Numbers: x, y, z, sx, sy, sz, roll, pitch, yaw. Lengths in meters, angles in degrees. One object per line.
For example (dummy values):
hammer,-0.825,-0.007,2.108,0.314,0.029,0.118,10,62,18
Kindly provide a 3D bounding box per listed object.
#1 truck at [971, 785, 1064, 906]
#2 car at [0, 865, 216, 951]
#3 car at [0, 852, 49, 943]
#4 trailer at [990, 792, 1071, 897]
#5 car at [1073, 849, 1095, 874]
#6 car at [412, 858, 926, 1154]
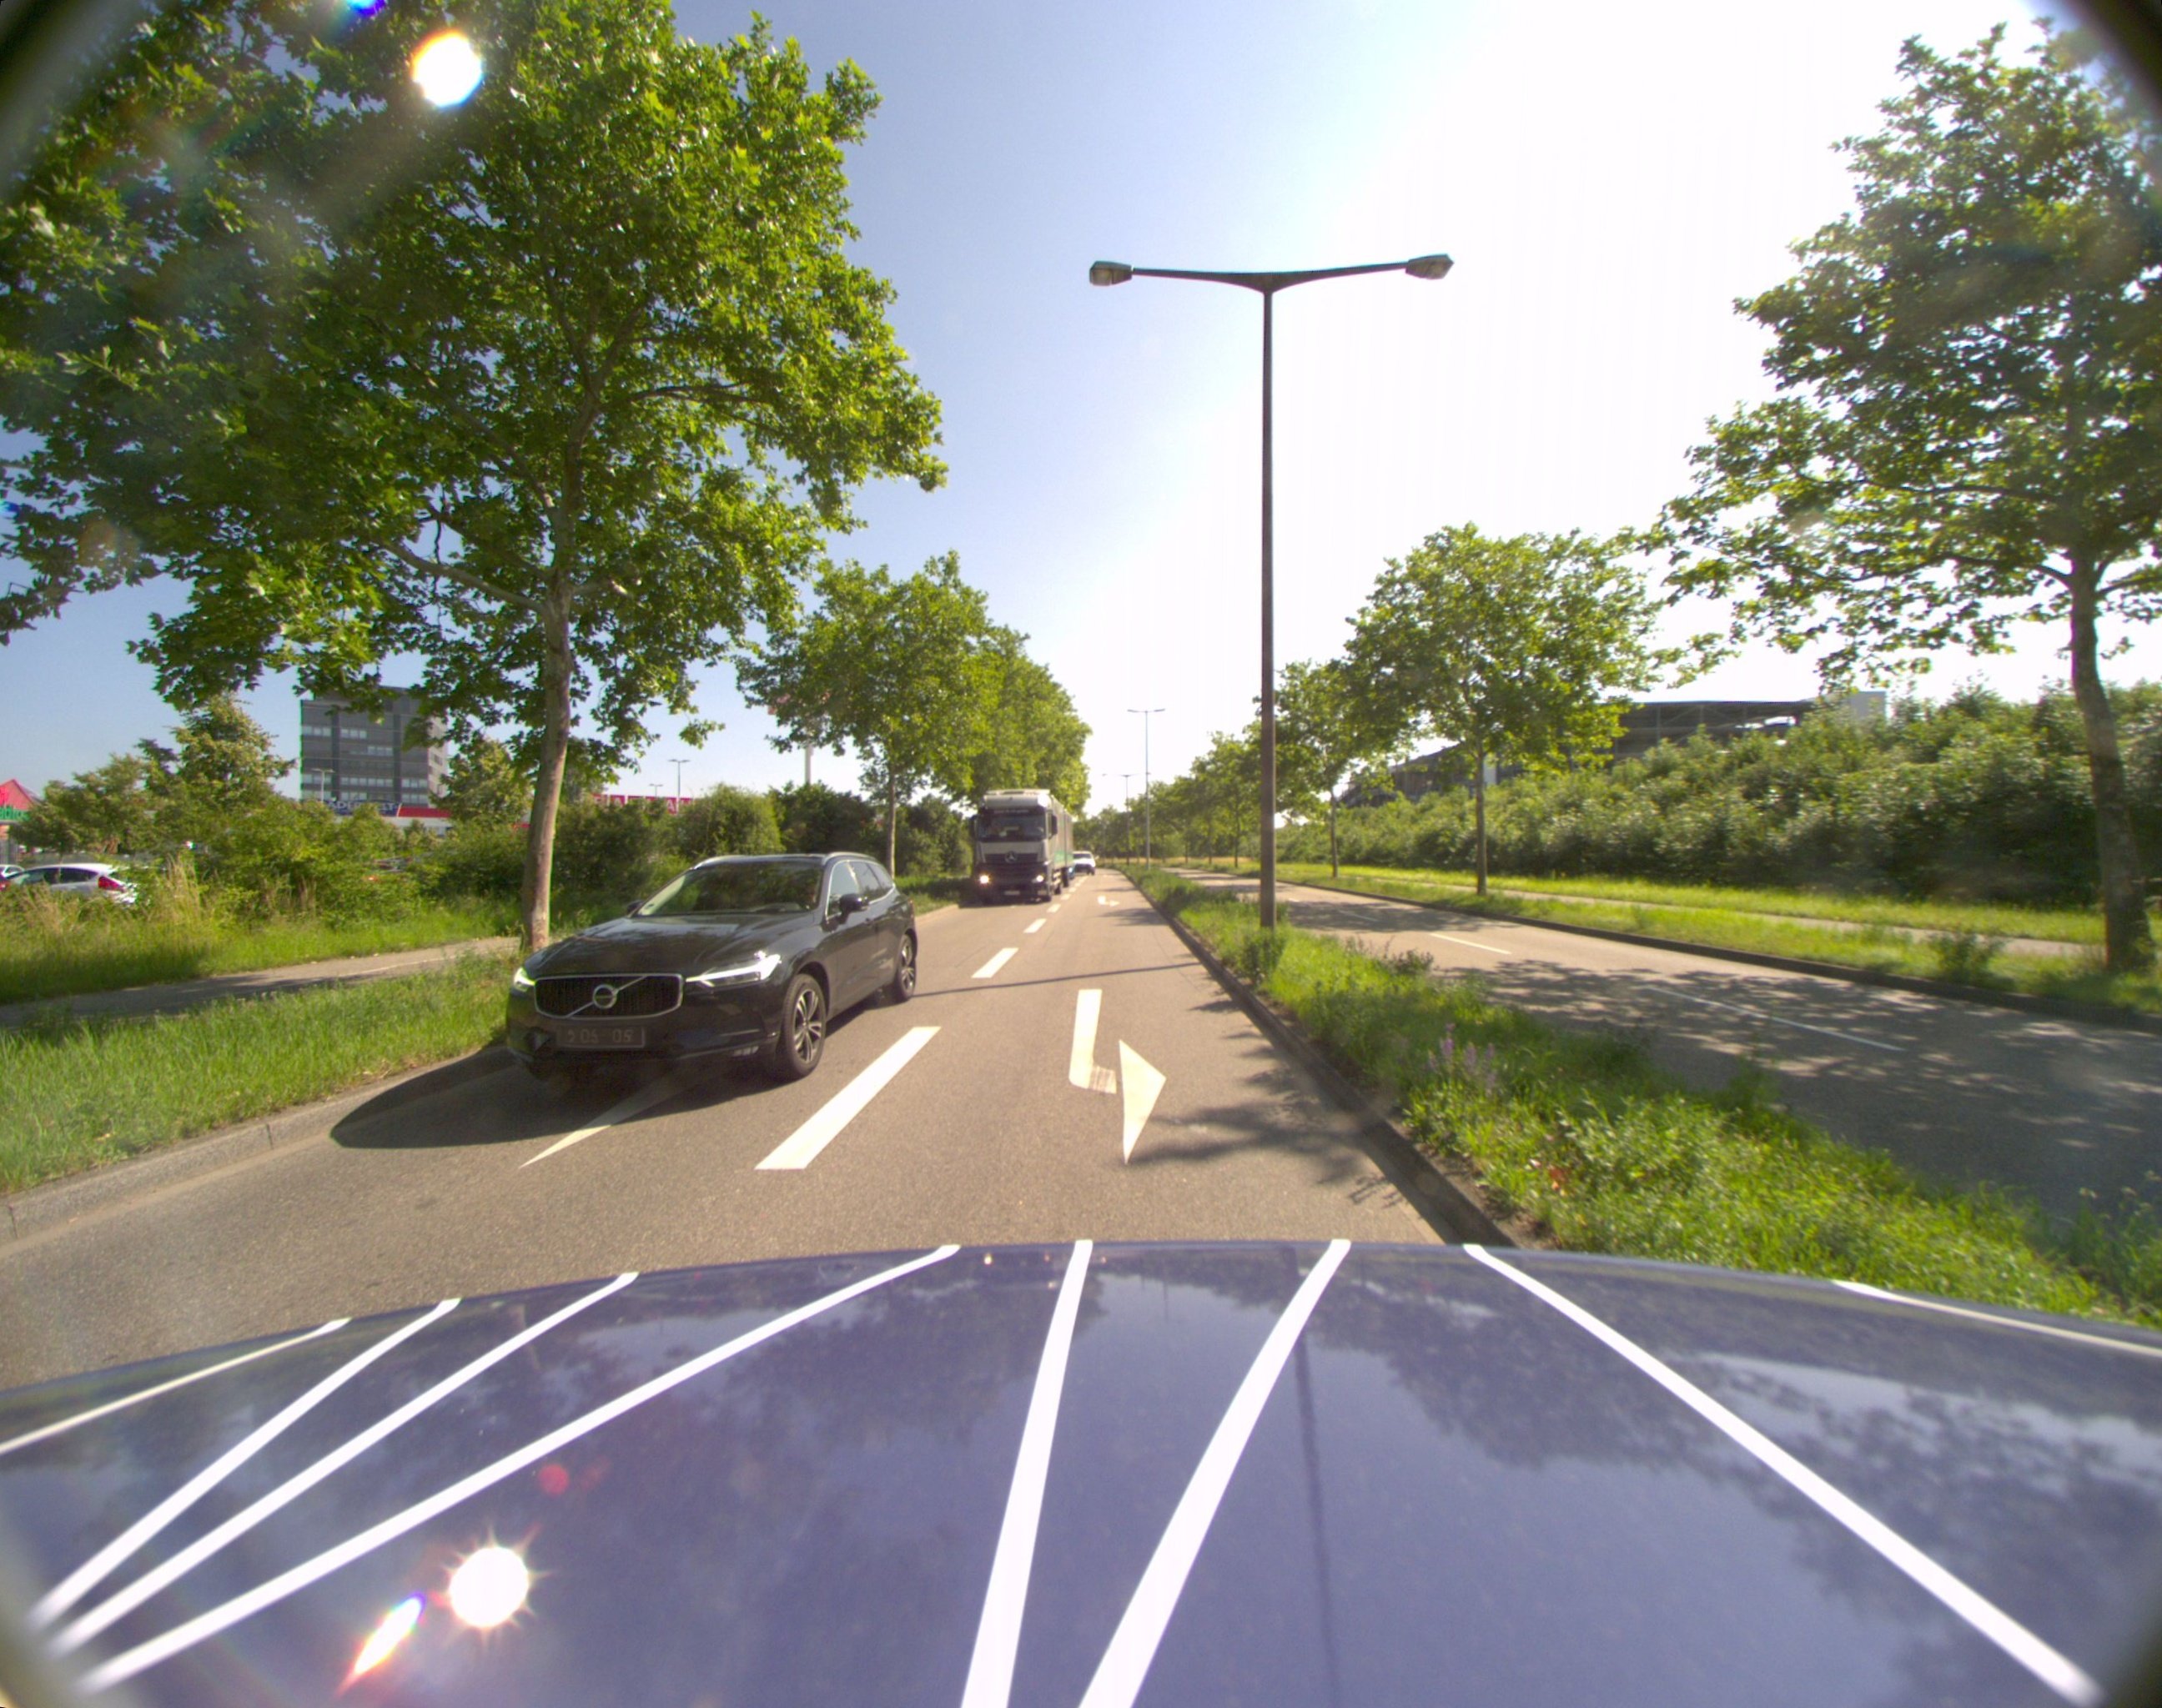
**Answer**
truck,-2.149,-0.307,27.752,2.741,3.872,5.851,-1,1,1
car,-21.854,1.140,16.660,3.558,1.686,1.718,-1,1,-4
car,-21.872,0.850,13.818,3.558,1.686,1.718,-1,1,-4
trailer,-2.035,-0.413,35.178,2.805,4.023,10.796,-1,1,1
car,0.281,0.581,61.639,1.691,1.893,4.000,-1,1,1
car,-2.846,0.893,6.672,1.924,1.613,4.564,-1,1,1
